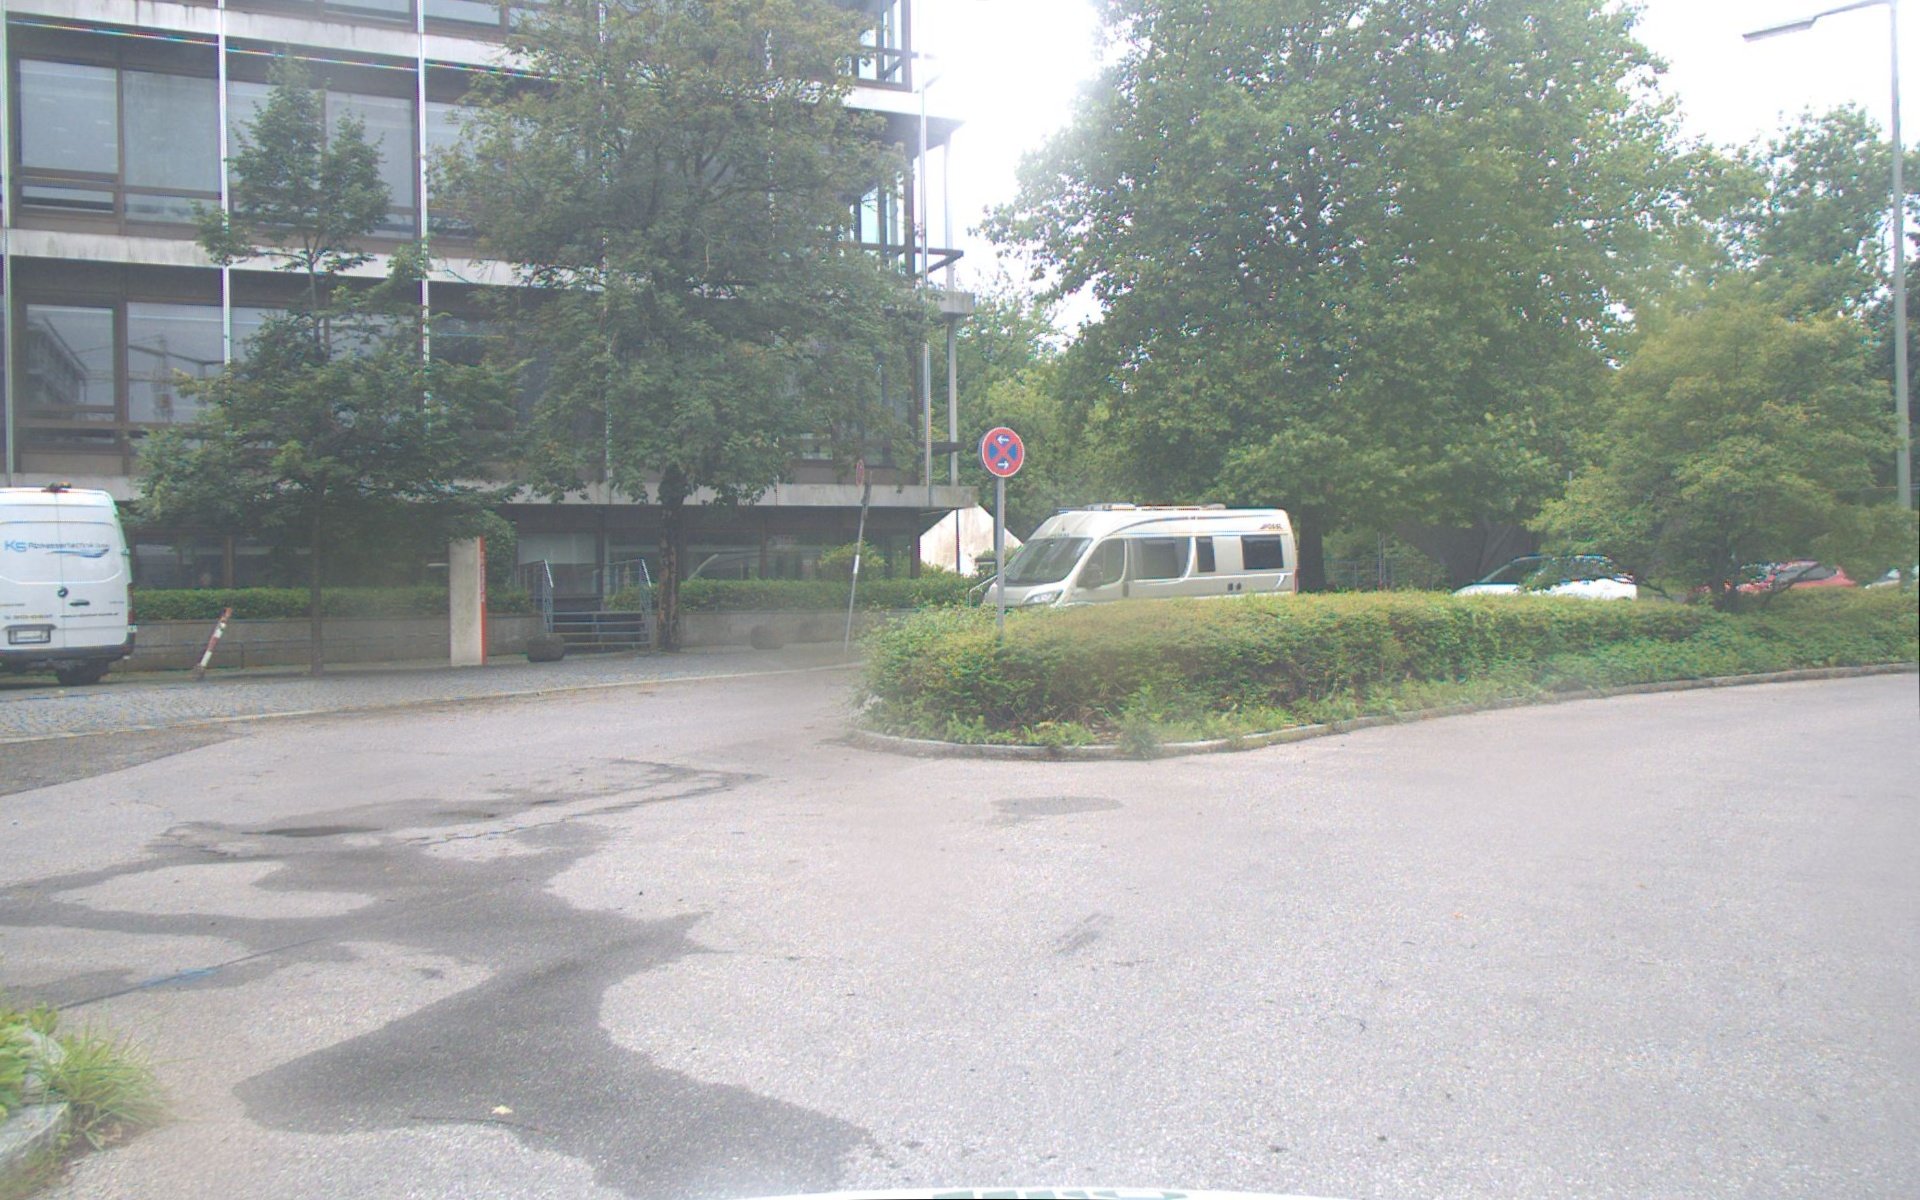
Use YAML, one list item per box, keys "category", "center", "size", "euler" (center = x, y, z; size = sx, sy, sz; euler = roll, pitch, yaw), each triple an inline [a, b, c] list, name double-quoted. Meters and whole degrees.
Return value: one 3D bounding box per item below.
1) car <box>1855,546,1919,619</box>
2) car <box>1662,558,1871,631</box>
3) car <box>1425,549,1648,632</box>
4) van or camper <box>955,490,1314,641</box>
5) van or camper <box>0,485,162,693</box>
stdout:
- category: "car"
  center: [22.773, -0.431, 37.894]
  size: [3.933, 1.601, 1.986]
  euler: [-1, 1, -23]
- category: "car"
  center: [17.338, -0.135, 35.571]
  size: [3.933, 1.434, 1.986]
  euler: [-1, 1, -23]
- category: "car"
  center: [11.548, -0.216, 33.167]
  size: [3.933, 1.534, 1.986]
  euler: [-1, 1, -23]
- category: "van or camper"
  center: [3.090, -0.580, 28.172]
  size: [6.354, 2.321, 2.224]
  euler: [-1, 1, -38]
- category: "van or camper"
  center: [-13.910, -0.040, 23.598]
  size: [6.418, 2.626, 2.151]
  euler: [-3, -1, 41]
